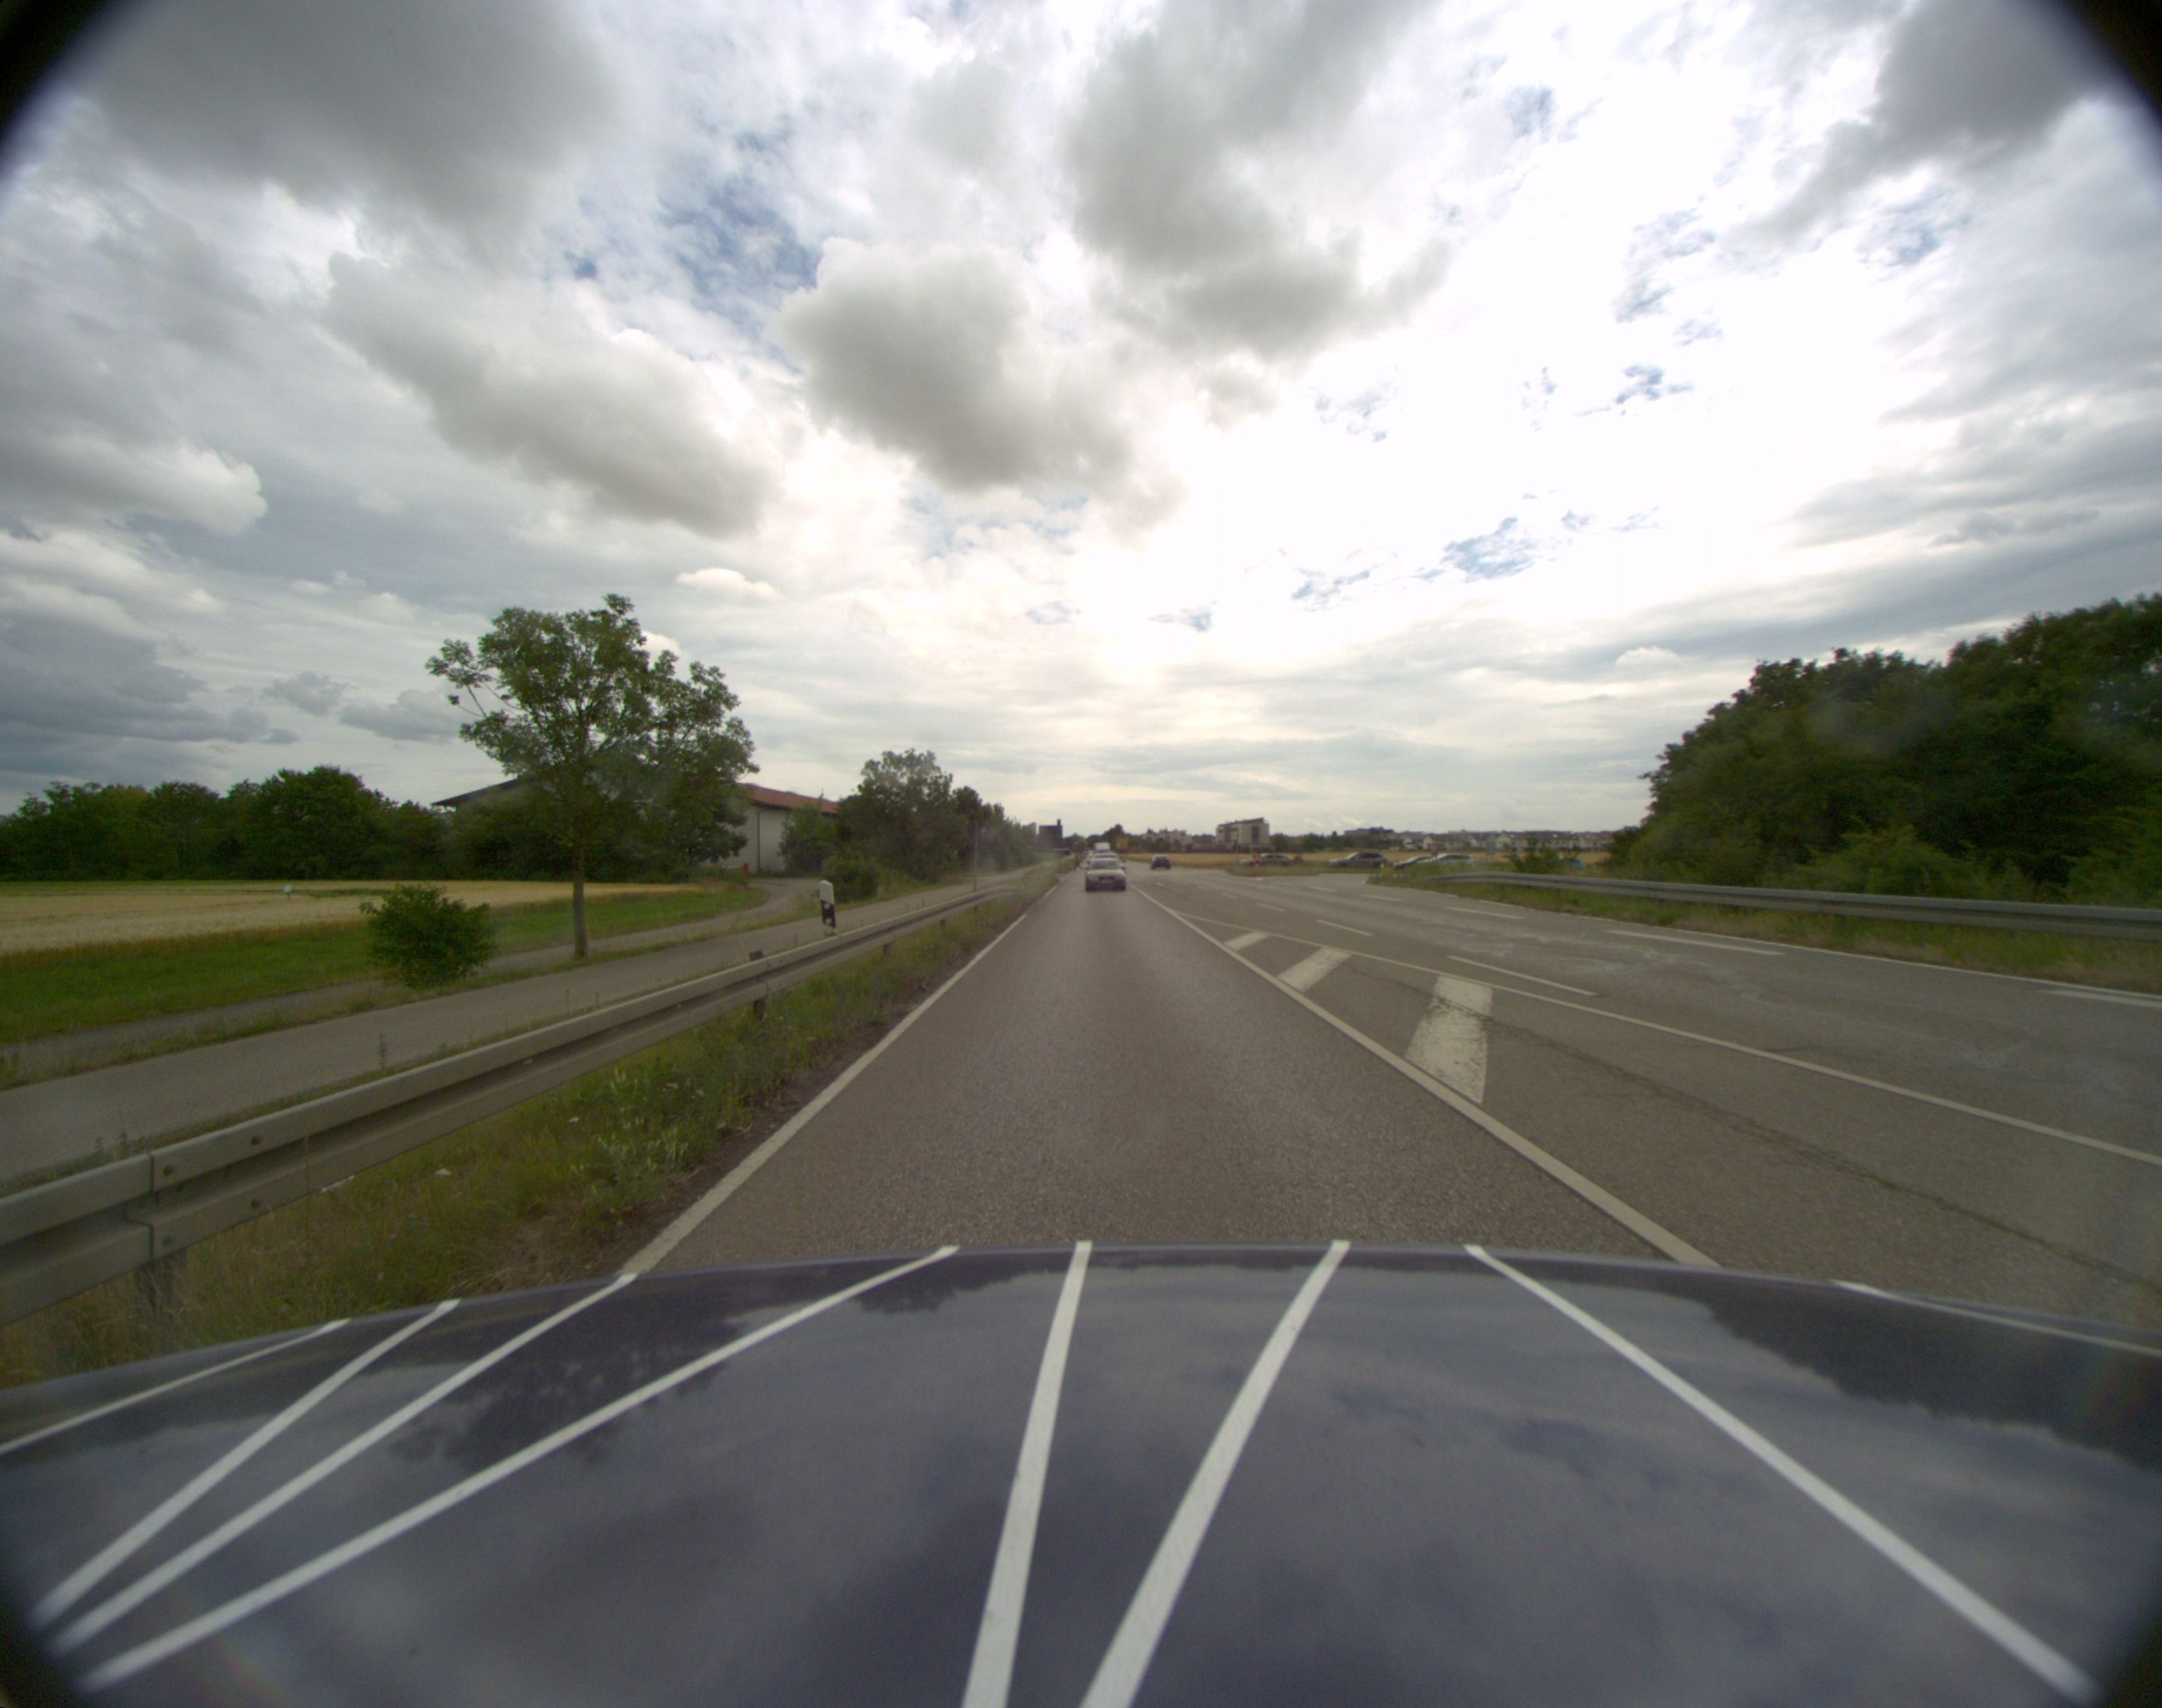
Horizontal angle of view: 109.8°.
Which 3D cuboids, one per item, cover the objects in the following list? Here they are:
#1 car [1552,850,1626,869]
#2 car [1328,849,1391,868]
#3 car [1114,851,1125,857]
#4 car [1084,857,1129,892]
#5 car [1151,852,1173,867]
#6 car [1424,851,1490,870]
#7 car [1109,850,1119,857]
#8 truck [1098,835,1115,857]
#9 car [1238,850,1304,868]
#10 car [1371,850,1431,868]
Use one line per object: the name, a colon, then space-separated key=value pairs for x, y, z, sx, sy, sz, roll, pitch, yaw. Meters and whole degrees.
car: x=40.525 y=0.404 z=60.697 sx=4.500 sy=1.474 sz=1.912 roll=0 pitch=1 yaw=7
car: x=23.208 y=0.355 z=63.522 sx=4.632 sy=1.508 sz=1.912 roll=0 pitch=1 yaw=7
car: x=8.082 y=-0.020 z=159.663 sx=2.170 sy=1.277 sz=4.237 roll=-2 pitch=0 yaw=0
car: x=1.189 y=0.873 z=34.318 sx=1.909 sy=1.416 sz=4.465 roll=0 pitch=0 yaw=3
car: x=8.013 y=0.541 z=75.129 sx=1.867 sy=1.368 sz=4.000 roll=-1 pitch=0 yaw=2
car: x=30.669 y=0.514 z=62.084 sx=4.500 sy=1.474 sz=1.912 roll=0 pitch=1 yaw=7
car: x=7.773 y=-0.111 z=179.370 sx=1.747 sy=1.521 sz=4.197 roll=-2 pitch=0 yaw=-4
truck: x=4.344 y=-1.412 z=131.679 sx=2.813 sy=3.588 sz=11.219 roll=0 pitch=0 yaw=1
car: x=16.009 y=0.422 z=64.219 sx=5.295 sy=1.512 sz=1.912 roll=0 pitch=1 yaw=7
car: x=27.475 y=0.399 z=65.333 sx=4.406 sy=1.474 sz=1.912 roll=0 pitch=1 yaw=7
